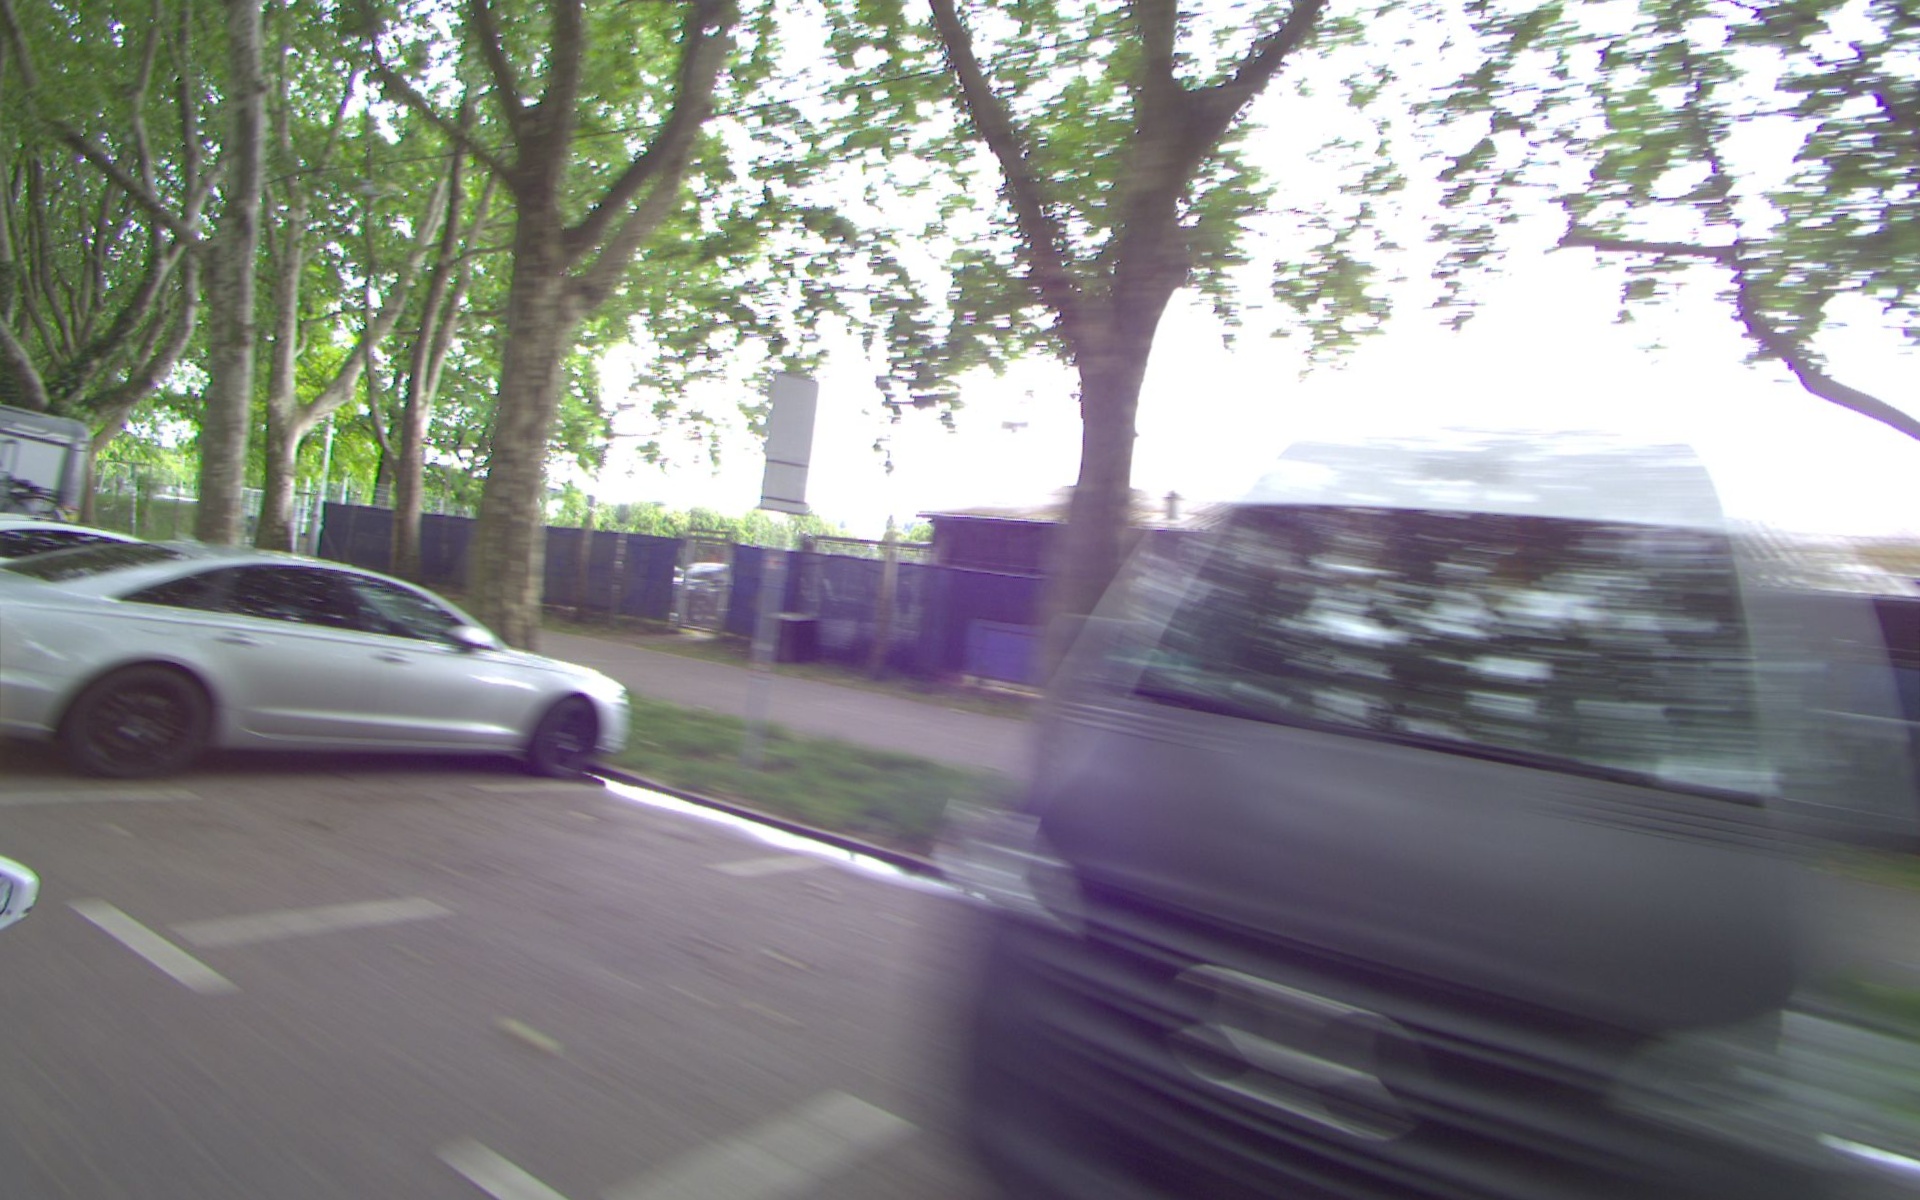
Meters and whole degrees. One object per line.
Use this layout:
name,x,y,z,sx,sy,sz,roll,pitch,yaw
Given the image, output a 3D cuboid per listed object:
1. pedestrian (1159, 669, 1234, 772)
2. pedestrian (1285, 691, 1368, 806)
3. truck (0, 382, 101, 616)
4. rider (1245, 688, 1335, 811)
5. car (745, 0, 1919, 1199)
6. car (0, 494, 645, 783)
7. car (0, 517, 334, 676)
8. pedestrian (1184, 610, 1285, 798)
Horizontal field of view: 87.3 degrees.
pedestrian,2.739,1.378,11.647,0.584,1.062,0.587,8,3,31
pedestrian,3.846,1.538,10.554,0.579,1.062,0.592,8,3,35
truck,-15.990,-1.766,14.313,7.401,2.972,2.466,7,-1,23
rider,3.248,1.448,9.890,0.579,1.062,0.592,8,3,35
car,2.342,0.630,4.674,2.093,2.726,6.891,7,-2,33
car,-4.660,0.408,7.244,1.587,1.460,4.371,7,-5,35
car,-9.015,-0.078,10.040,1.672,1.317,4.327,7,-2,32
pedestrian,2.782,1.028,10.176,0.611,1.764,0.639,8,3,35
